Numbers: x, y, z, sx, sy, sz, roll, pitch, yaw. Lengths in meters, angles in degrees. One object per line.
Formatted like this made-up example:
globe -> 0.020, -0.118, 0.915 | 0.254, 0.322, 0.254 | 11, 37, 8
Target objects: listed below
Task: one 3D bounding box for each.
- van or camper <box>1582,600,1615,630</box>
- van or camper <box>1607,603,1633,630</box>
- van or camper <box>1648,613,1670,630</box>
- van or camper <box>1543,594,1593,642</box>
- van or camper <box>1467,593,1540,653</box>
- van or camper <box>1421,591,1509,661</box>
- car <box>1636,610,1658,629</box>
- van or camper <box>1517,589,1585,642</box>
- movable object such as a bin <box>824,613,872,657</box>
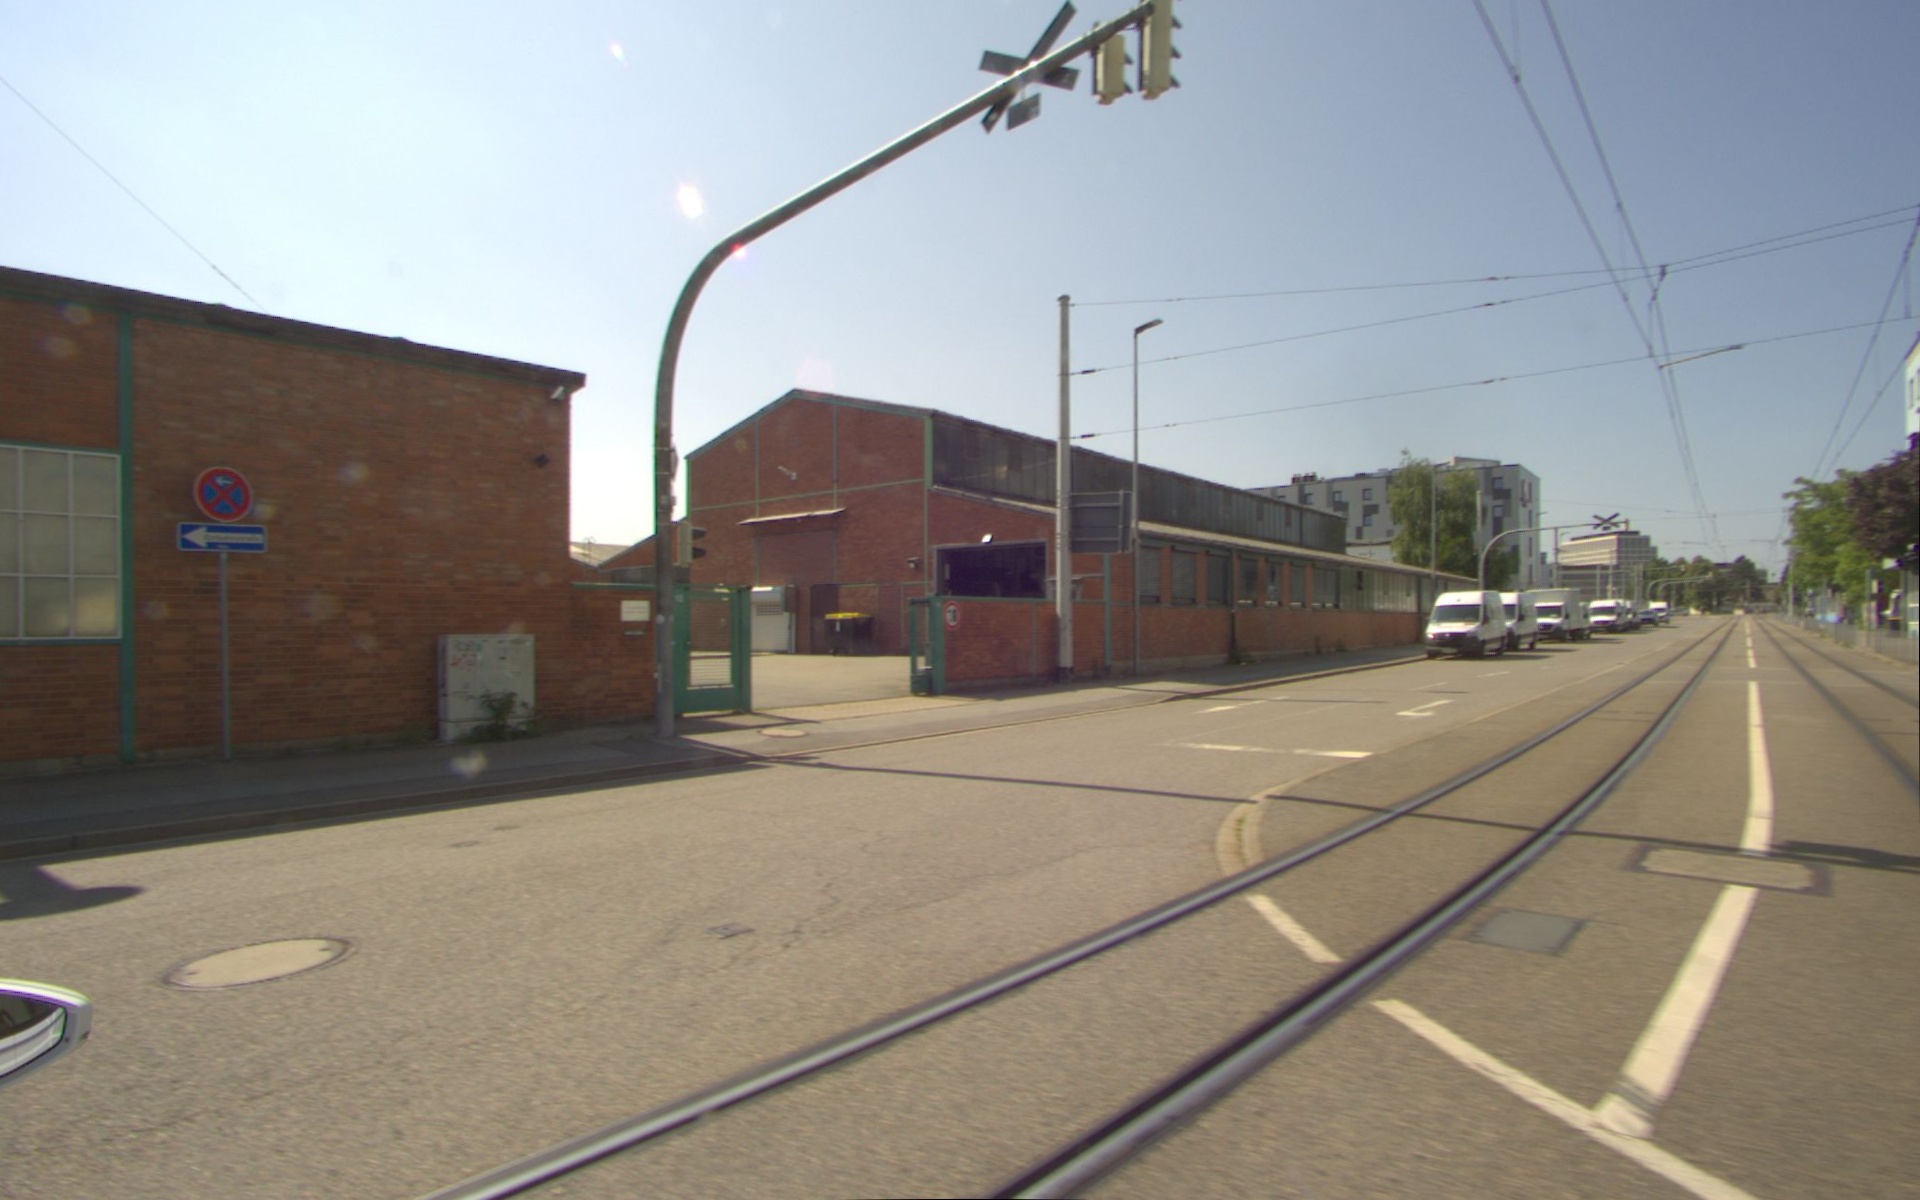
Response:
van or camper -> 49.171, 1.188, 77.045 | 1.932, 2.240, 4.878 | -1, -1, 35
van or camper -> 57.409, 1.452, 87.058 | 1.802, 2.240, 4.234 | -1, -1, 35
van or camper -> 87.760, 2.667, 125.702 | 1.977, 2.040, 3.969 | -1, -1, 40
van or camper -> 37.881, 1.119, 62.340 | 2.150, 2.822, 4.699 | -1, -1, 37
van or camper -> 24.648, 1.031, 45.296 | 2.019, 2.567, 5.542 | -1, -1, 38
van or camper -> 20.017, 1.012, 39.513 | 2.019, 2.567, 5.828 | -1, -1, 38
car -> 77.158, 2.183, 112.421 | 1.805, 2.040, 3.807 | -1, -1, 38
van or camper -> 33.688, 0.876, 56.977 | 2.493, 2.822, 7.067 | -1, -1, 37
movable object such as a bin -> -3.526, 1.081, 31.533 | 1.139, 1.331, 0.970 | -1, 0, 40
